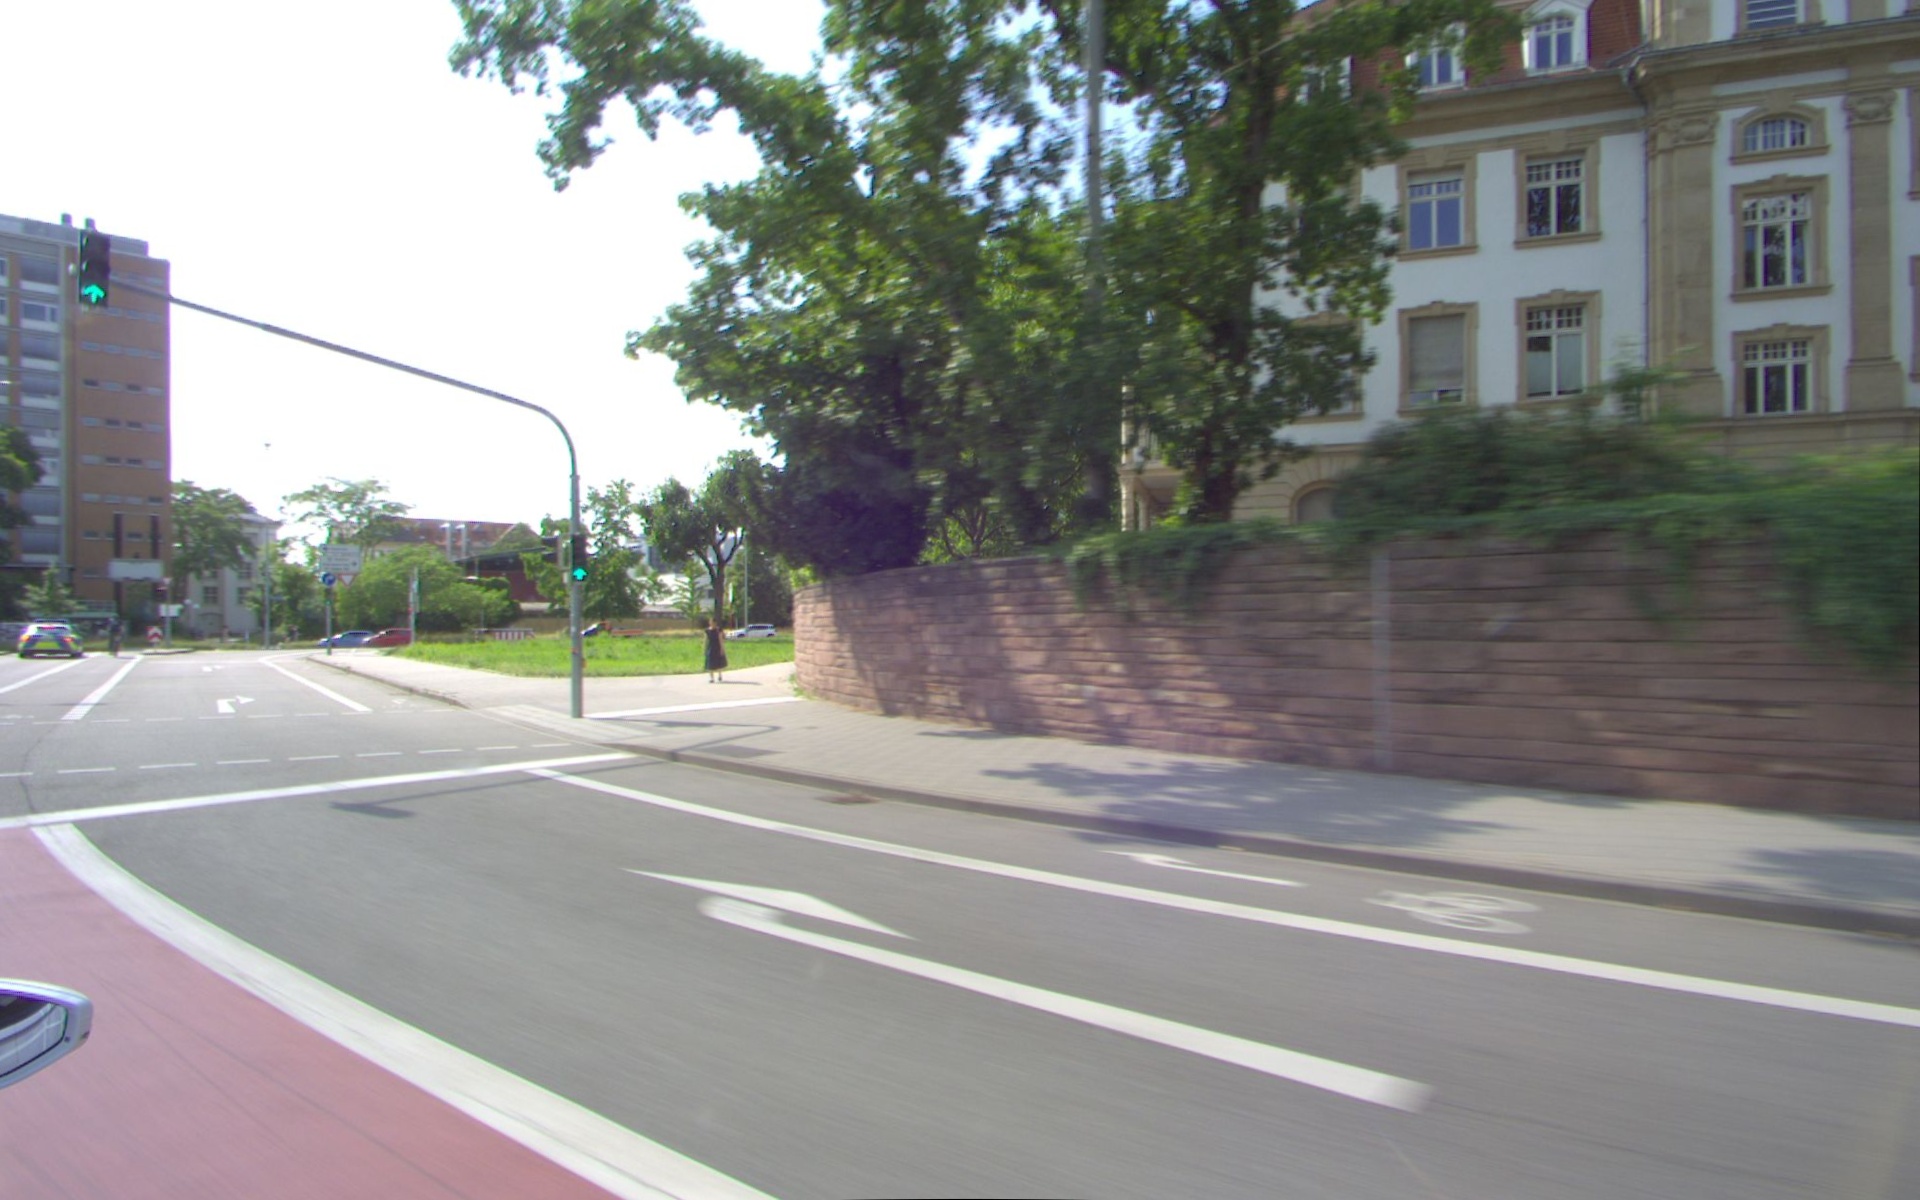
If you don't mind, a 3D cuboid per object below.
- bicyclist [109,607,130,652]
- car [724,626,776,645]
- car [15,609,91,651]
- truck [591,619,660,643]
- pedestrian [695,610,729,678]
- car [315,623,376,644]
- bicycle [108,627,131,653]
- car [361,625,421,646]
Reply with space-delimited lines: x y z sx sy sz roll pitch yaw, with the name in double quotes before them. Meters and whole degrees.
"bicyclist" -37.788 1.309 45.023 0.712 2.000 0.832 0 1 -39
"car" -18.267 3.069 87.220 4.112 1.630 1.615 0 -1 -35
"car" -39.035 1.300 43.191 2.113 1.705 4.070 3 -3 -38
"truck" -27.128 2.520 81.324 5.059 1.861 1.990 0 -1 -30
"pedestrian" -6.196 1.100 25.077 0.736 1.660 0.886 -1 -1 -10
"car" -45.026 2.424 73.436 3.678 1.475 1.620 0 -1 -26
"bicycle" -37.748 1.770 44.974 0.714 1.098 2.173 0 0 -38
"car" -41.311 2.547 72.732 3.678 1.475 1.620 0 -1 -26
